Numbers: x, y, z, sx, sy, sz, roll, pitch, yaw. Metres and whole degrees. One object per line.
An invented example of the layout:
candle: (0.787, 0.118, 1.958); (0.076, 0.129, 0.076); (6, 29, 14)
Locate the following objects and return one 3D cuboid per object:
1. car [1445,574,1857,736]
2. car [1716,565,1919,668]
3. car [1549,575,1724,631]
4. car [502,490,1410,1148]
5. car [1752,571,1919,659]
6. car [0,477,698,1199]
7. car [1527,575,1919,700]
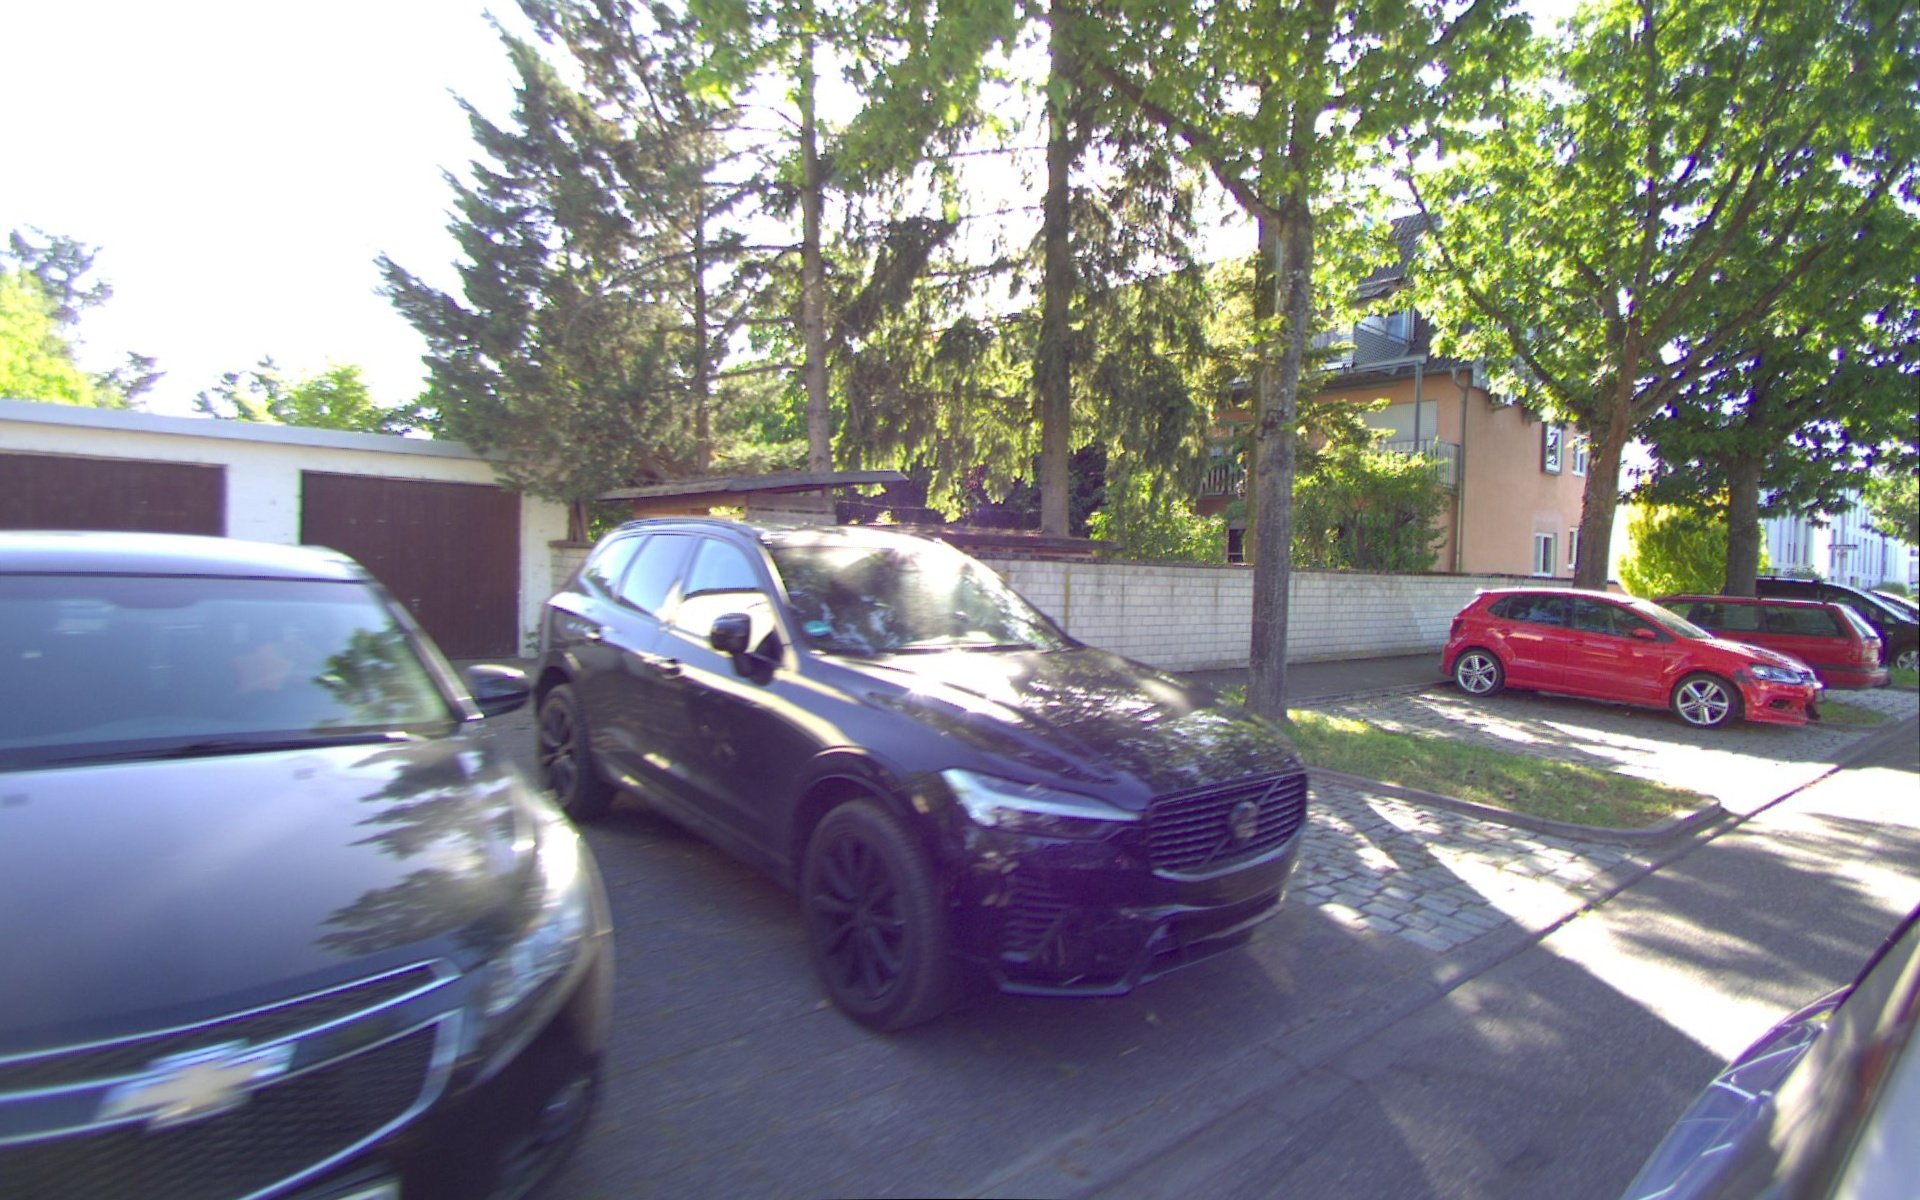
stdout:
car: (8.246, 0.507, 12.362); (1.724, 1.502, 3.788); (-1, 4, -39)
car: (18.571, 0.321, 21.009); (1.757, 1.803, 4.224); (0, 4, -39)
car: (25.554, 0.047, 38.388); (1.881, 1.837, 5.201); (-1, 3, -42)
car: (-0.550, 0.402, 4.875); (1.806, 1.666, 4.584); (0, 4, -40)
car: (20.946, 0.354, 22.815); (1.846, 1.699, 4.515); (0, 5, -40)
car: (-2.613, 0.461, 3.162); (1.807, 1.548, 4.332); (1, 3, -39)
car: (11.610, 0.448, 15.705); (1.805, 1.463, 4.515); (0, 3, -39)
